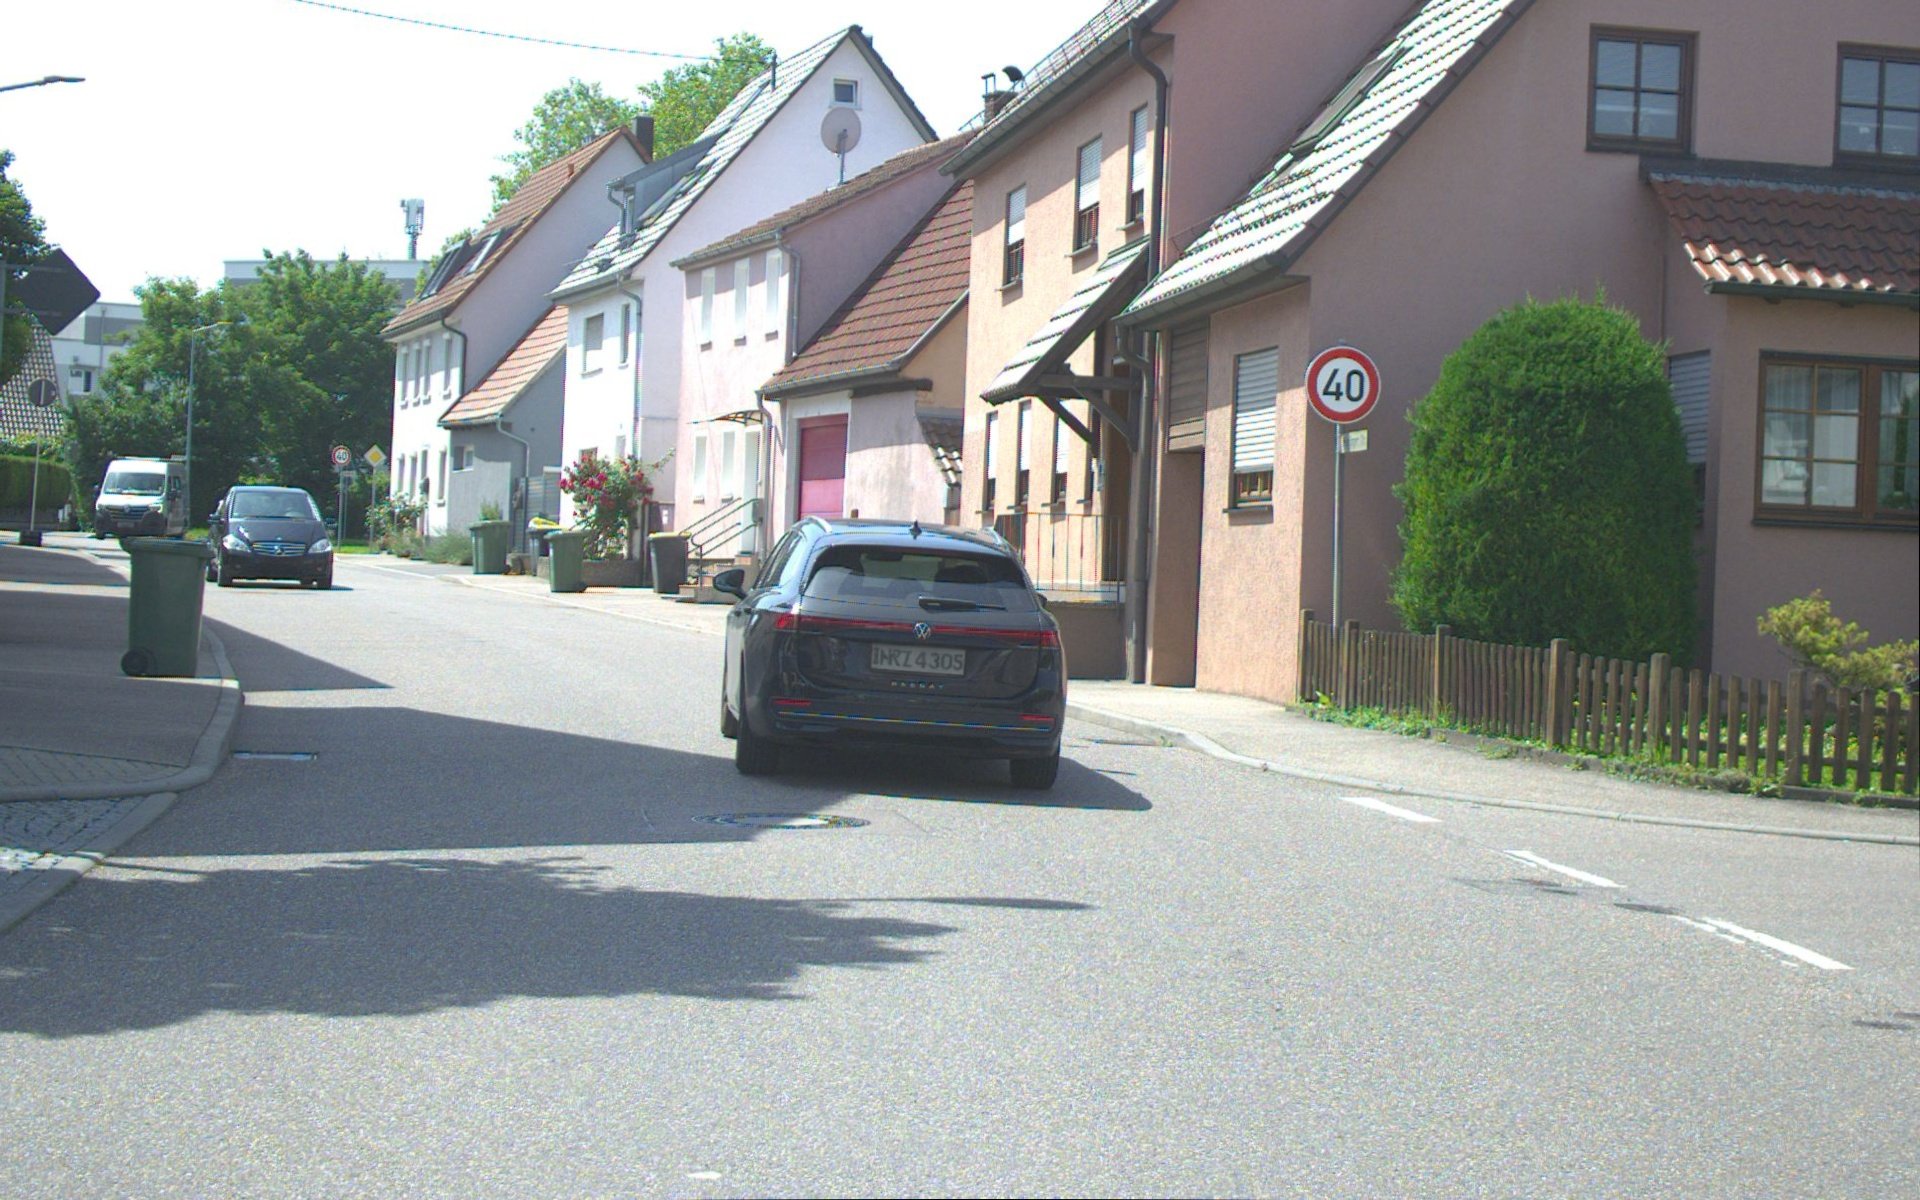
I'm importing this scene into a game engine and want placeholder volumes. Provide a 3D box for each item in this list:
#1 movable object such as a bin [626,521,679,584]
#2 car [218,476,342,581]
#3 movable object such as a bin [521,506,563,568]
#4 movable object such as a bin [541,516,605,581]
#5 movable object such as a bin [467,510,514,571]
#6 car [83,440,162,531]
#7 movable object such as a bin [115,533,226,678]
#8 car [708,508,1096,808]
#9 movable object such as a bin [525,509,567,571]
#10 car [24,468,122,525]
[{"bbox_3d":[-5.270,-0.815,58.913,0.678,1.046,0.835,-2,3,-21],"label":"movable object such as a bin"},{"bbox_3d":[-10.878,-1.162,54.833,1.799,1.550,4.072,2,2,-13],"label":"car"},{"bbox_3d":[-8.328,-1.258,68.503,0.664,1.190,0.660,3,1,-17],"label":"movable object such as a bin"},{"bbox_3d":[-6.704,-0.893,59.505,0.875,1.071,0.873,-2,3,-21],"label":"movable object such as a bin"},{"bbox_3d":[-9.360,-1.186,68.515,0.678,1.151,0.820,3,1,-21],"label":"movable object such as a bin"},{"bbox_3d":[-24.954,-3.423,102.564,2.113,2.554,5.829,2,2,-13],"label":"car"},{"bbox_3d":[-6.068,0.037,26.447,0.753,1.056,0.680,3,1,-11],"label":"movable object such as a bin"},{"bbox_3d":[-0.470,0.244,20.226,1.841,1.415,4.684,2,2,-6],"label":"car"},{"bbox_3d":[-8.165,-1.182,67.777,0.664,1.190,0.588,3,1,-17],"label":"movable object such as a bin"},{"bbox_3d":[-33.499,-3.894,129.975,2.128,2.007,4.937,3,1,3],"label":"car"}]
